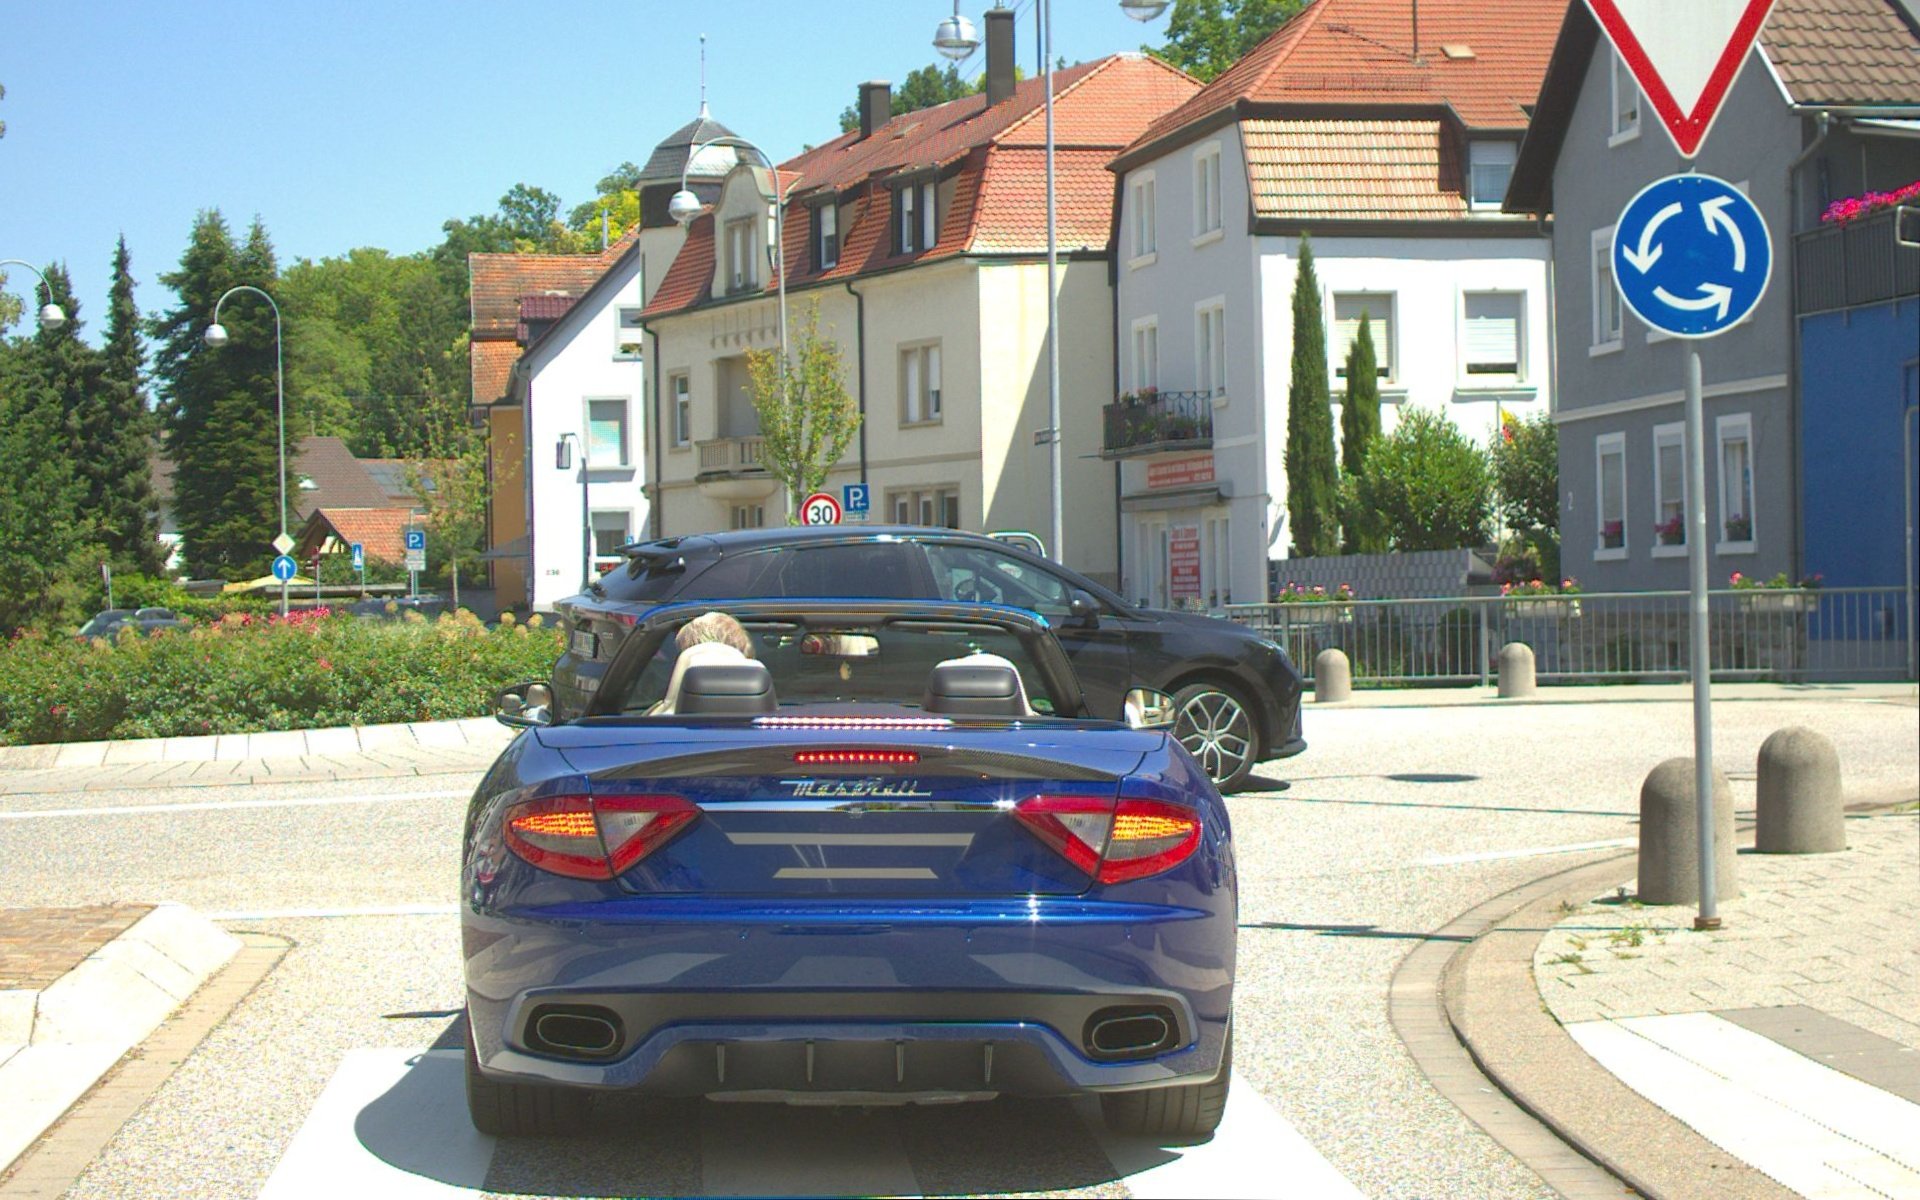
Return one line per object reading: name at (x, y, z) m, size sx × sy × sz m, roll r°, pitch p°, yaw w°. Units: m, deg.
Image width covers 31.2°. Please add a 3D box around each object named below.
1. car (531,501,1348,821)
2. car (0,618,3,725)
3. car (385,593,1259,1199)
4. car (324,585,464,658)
car at (-0.154, 0.279, 19.265) m, size 4.247 × 1.541 × 1.812 m, roll -2°, pitch 3°, yaw -14°
car at (-14.195, 1.026, 46.340) m, size 1.993 × 1.504 × 4.001 m, roll -2°, pitch 0°, yaw -9°
car at (-0.293, 0.666, 9.674) m, size 1.910 × 1.356 × 4.285 m, roll 0°, pitch 0°, yaw 0°
car at (-13.380, 0.521, 81.141) m, size 1.850 × 1.583 × 4.000 m, roll -3°, pitch 1°, yaw -31°
